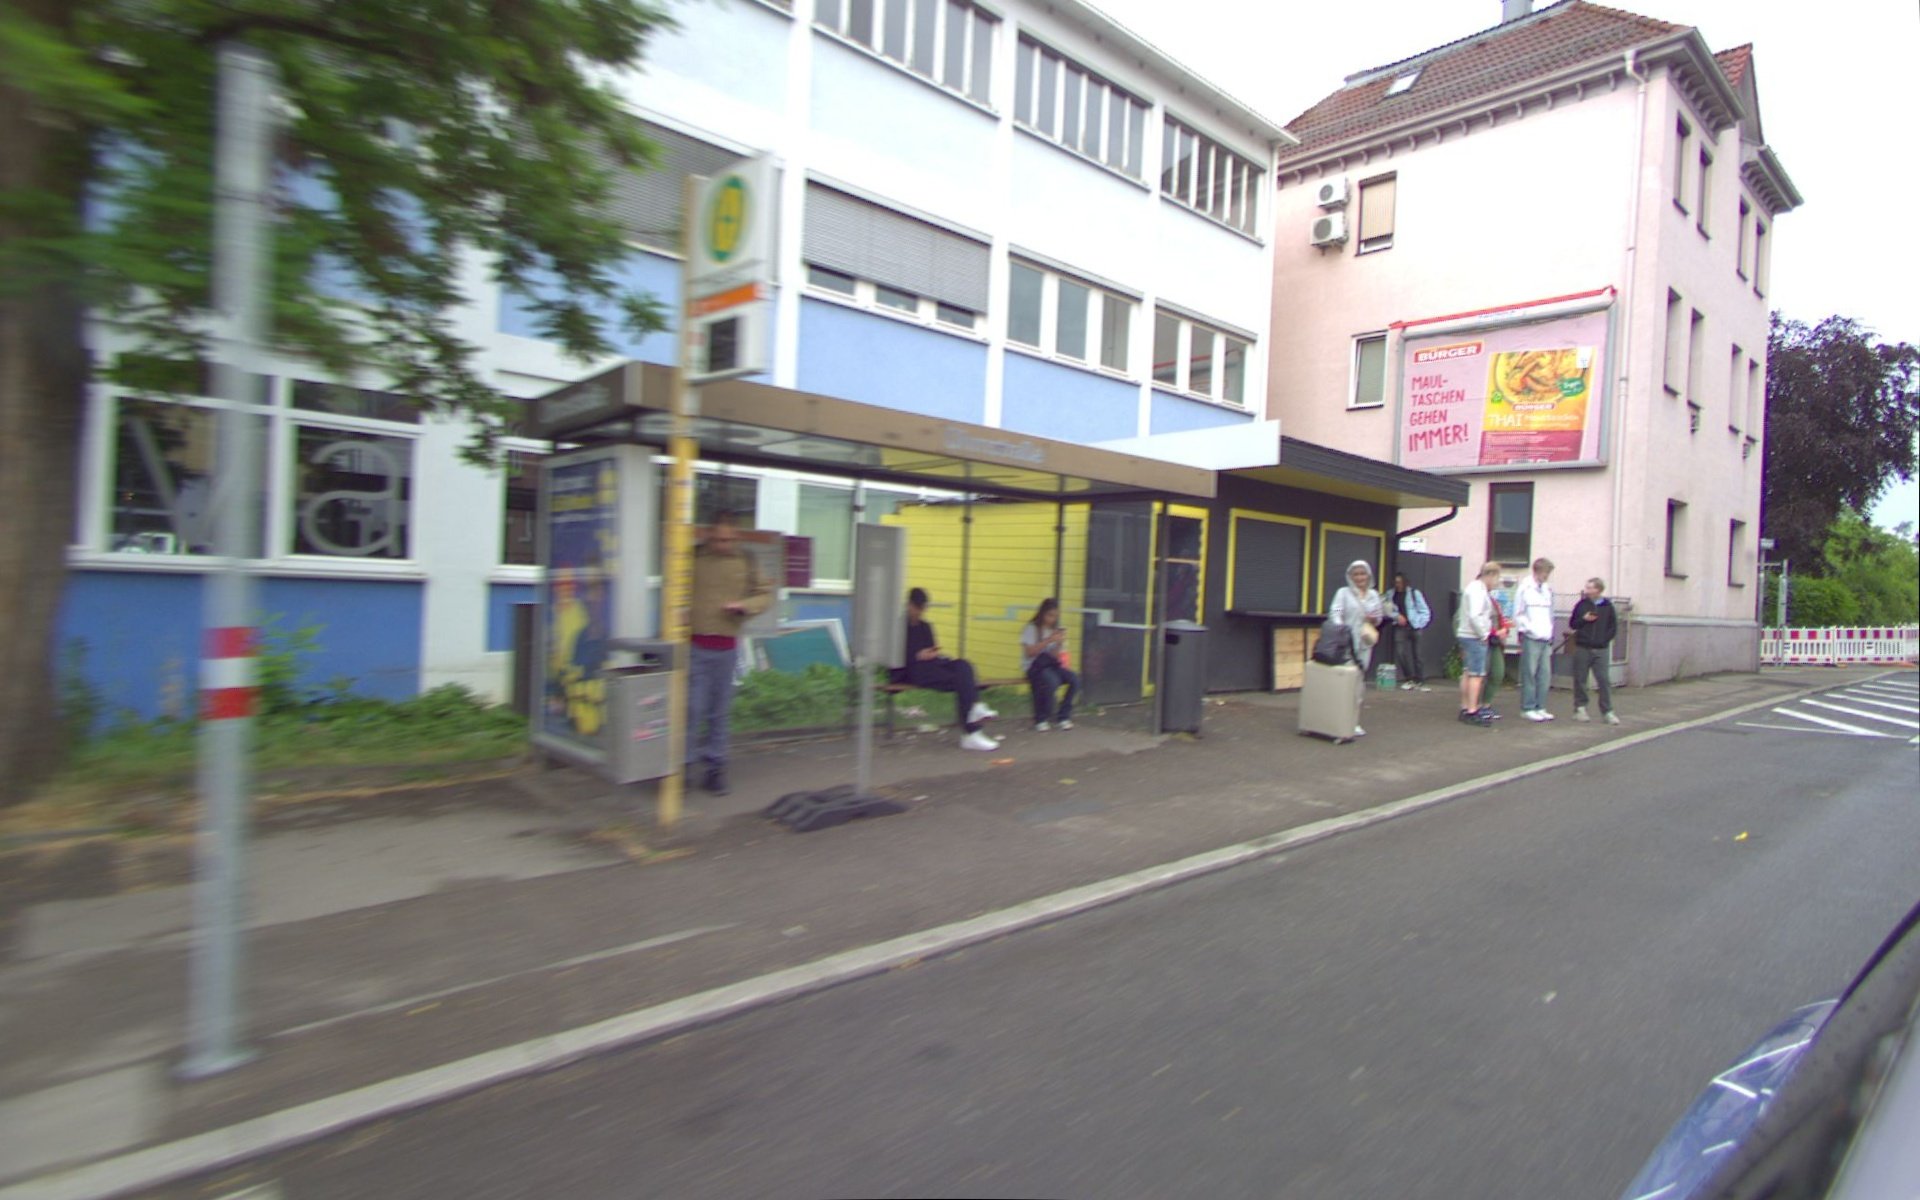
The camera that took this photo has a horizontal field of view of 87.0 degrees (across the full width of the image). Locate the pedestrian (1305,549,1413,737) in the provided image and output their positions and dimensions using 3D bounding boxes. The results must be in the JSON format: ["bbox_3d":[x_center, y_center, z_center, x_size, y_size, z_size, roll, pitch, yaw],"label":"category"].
[{"bbox_3d":[3.966,0.393,10.060,0.660,1.762,0.816,4,3,44],"label":"pedestrian"}]

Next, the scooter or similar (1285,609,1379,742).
[{"bbox_3d":[3.522,0.688,9.587,0.618,1.154,0.559,4,3,44],"label":"scooter or similar"}]

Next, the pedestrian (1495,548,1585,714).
[{"bbox_3d":[6.849,0.355,11.969,0.619,1.897,0.489,2,3,-13],"label":"pedestrian"}]

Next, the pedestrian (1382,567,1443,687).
[{"bbox_3d":[6.528,0.369,14.629,0.667,1.645,0.620,4,3,21],"label":"pedestrian"}]

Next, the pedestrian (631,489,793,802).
[{"bbox_3d":[-1.587,0.252,6.480,0.647,1.854,0.730,4,3,44],"label":"pedestrian"}]

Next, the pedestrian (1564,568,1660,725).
[{"bbox_3d":[7.641,0.517,11.889,0.627,1.730,0.746,4,3,16],"label":"pedestrian"}]

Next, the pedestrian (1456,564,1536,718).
[{"bbox_3d":[6.220,0.467,11.753,0.545,1.728,0.449,2,3,-19],"label":"pedestrian"}]

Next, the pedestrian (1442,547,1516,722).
[{"bbox_3d":[5.769,0.364,11.255,0.459,1.863,0.595,6,4,44],"label":"pedestrian"}]

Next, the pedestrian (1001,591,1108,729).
[{"bbox_3d":[0.893,0.536,9.565,0.660,1.213,0.730,4,3,44],"label":"pedestrian"}]

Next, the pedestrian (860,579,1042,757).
[{"bbox_3d":[-0.094,0.505,8.395,1.356,1.289,0.730,4,3,45],"label":"pedestrian"}]
